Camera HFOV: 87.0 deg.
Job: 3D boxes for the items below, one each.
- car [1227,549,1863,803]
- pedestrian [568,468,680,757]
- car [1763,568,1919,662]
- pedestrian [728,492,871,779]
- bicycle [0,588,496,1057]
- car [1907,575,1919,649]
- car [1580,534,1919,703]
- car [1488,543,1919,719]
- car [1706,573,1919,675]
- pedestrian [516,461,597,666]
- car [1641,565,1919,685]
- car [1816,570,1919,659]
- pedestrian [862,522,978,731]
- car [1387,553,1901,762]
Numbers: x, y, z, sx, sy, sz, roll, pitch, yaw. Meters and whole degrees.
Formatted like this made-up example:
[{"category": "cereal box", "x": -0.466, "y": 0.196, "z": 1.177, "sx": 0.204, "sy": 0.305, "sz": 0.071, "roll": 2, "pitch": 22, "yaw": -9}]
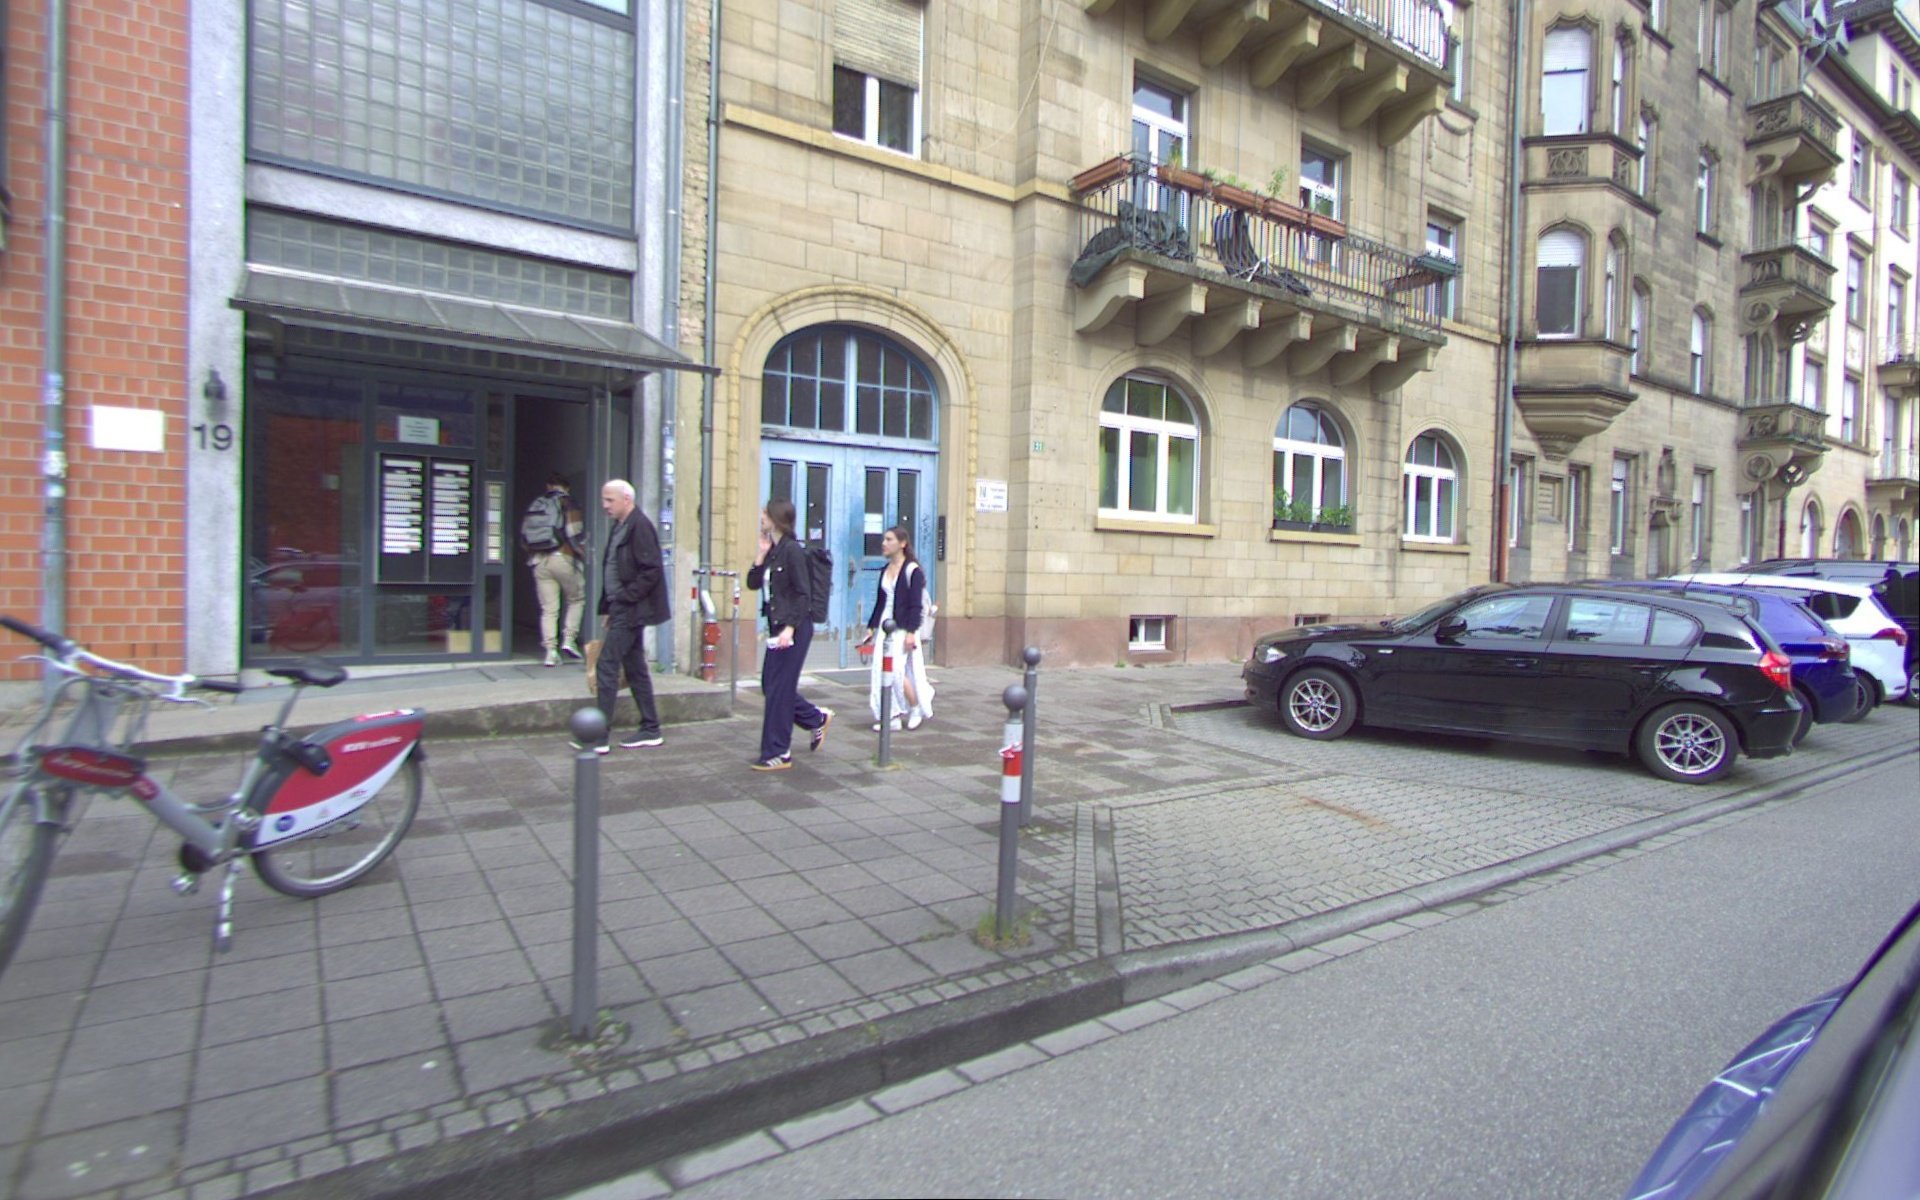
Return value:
[{"category": "car", "x": 4.596, "y": 0.472, "z": 8.651, "sx": 4.215, "sy": 1.496, "sz": 1.672, "roll": 5, "pitch": 3, "yaw": 23}, {"category": "pedestrian", "x": -2.223, "y": 0.054, "z": 6.667, "sx": 0.531, "sy": 1.792, "sz": 0.645, "roll": -1, "pitch": 4, "yaw": -36}, {"category": "car", "x": 18.271, "y": 0.338, "z": 19.103, "sx": 4.406, "sy": 1.593, "sz": 1.738, "roll": 5, "pitch": 3, "yaw": 17}, {"category": "pedestrian", "x": -1.009, "y": 0.189, "z": 6.342, "sx": 0.704, "sy": 1.682, "sz": 0.520, "roll": -1, "pitch": 4, "yaw": -38}, {"category": "bicycle", "x": -2.512, "y": 0.560, "z": 3.507, "sx": 0.719, "sy": 1.117, "sz": 1.730, "roll": 3, "pitch": 3, "yaw": 14}, {"category": "car", "x": 24.162, "y": 0.414, "z": 22.380, "sx": 4.176, "sy": 1.702, "sz": 1.903, "roll": 3, "pitch": 4, "yaw": 22}, {"category": "car", "x": 11.250, "y": 0.213, "z": 13.826, "sx": 4.222, "sy": 1.929, "sz": 1.872, "roll": 5, "pitch": 3, "yaw": 15}, {"category": "car", "x": 8.756, "y": 0.279, "z": 12.084, "sx": 3.946, "sy": 1.620, "sz": 1.757, "roll": 5, "pitch": 3, "yaw": 16}, {"category": "car", "x": 15.946, "y": 0.408, "z": 17.524, "sx": 4.406, "sy": 1.571, "sz": 1.842, "roll": 3, "pitch": 3, "yaw": 18}, {"category": "pedestrian", "x": -3.634, "y": -0.328, "z": 9.109, "sx": 0.558, "sy": 1.765, "sz": 0.541, "roll": -1, "pitch": 2, "yaw": -35}, {"category": "car", "x": 13.419, "y": 0.364, "z": 15.831, "sx": 4.018, "sy": 1.470, "sz": 2.022, "roll": 5, "pitch": 4, "yaw": 17}, {"category": "car", "x": 21.034, "y": 0.376, "z": 20.843, "sx": 4.694, "sy": 1.705, "sz": 1.925, "roll": 4, "pitch": 4, "yaw": 20}, {"category": "pedestrian", "x": -0.312, "y": 0.174, "z": 7.826, "sx": 0.704, "sy": 1.528, "sz": 0.520, "roll": -1, "pitch": 4, "yaw": -38}, {"category": "car", "x": 6.679, "y": 0.437, "z": 10.470, "sx": 3.963, "sy": 1.552, "sz": 1.914, "roll": 6, "pitch": 3, "yaw": 27}]
